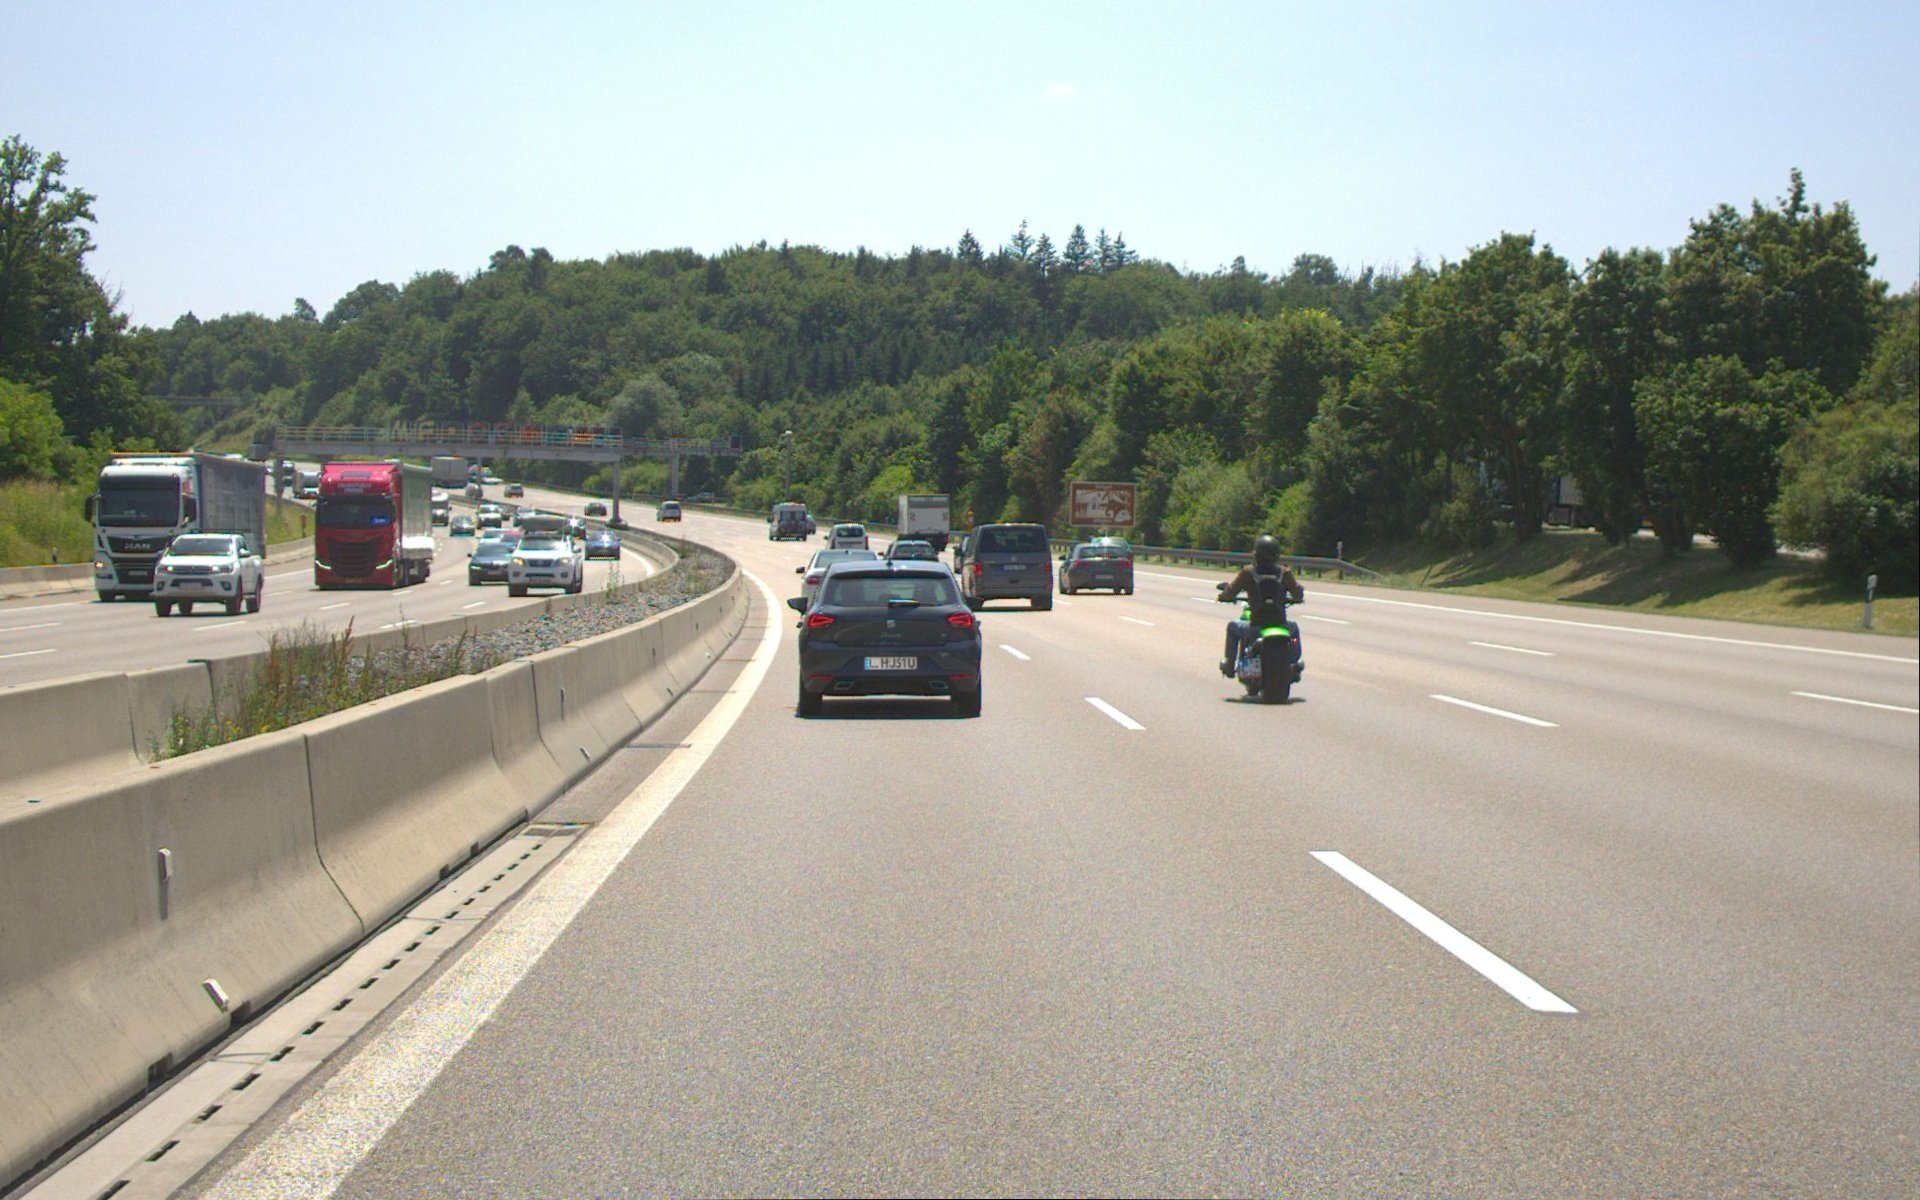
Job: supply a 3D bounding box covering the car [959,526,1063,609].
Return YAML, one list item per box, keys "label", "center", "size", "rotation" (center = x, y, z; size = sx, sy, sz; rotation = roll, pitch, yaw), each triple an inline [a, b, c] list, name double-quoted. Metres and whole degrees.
- label: "car"
  center: [1.139, -0.762, 79.001]
  size: [2.097, 1.845, 4.081]
  rotation: [0, 1, -3]

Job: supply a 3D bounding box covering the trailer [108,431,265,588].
- label: "trailer"
  center: [-22.874, -2.672, 102.335]
  size: [2.500, 4.336, 13.700]
  rotation: [0, 1, -4]

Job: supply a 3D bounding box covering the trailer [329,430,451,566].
- label: "trailer"
  center: [-19.289, -3.485, 117.114]
  size: [2.500, 4.336, 14.305]
  rotation: [0, 2, -3]

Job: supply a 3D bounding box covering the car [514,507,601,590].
- label: "car"
  center: [-11.474, -1.482, 98.252]
  size: [1.993, 2.281, 5.766]
  rotation: [0, 1, -2]

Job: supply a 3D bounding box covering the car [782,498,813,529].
- label: "car"
  center: [-10.993, -5.855, 232.790]
  size: [1.993, 2.006, 4.675]
  rotation: [3, 2, -3]

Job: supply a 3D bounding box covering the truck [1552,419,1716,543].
- label: "truck"
  center: [27.466, -4.794, 140.928]
  size: [3.326, 4.813, 14.700]
  rotation: [0, 1, -2]

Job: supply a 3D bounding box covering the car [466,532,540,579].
- label: "car"
  center: [-15.456, -1.530, 116.496]
  size: [1.993, 1.542, 4.882]
  rotation: [0, 1, -2]

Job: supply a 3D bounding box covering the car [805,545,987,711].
- label: "car"
  center: [-0.636, 0.253, 32.732]
  size: [1.624, 1.482, 3.685]
  rotation: [0, 0, -2]

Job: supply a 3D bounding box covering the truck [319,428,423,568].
- label: "truck"
  center: [-18.910, -3.290, 110.607]
  size: [2.501, 4.336, 6.606]
  rotation: [0, 2, -3]

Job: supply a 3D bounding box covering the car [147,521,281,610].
- label: "car"
  center: [-16.938, -0.816, 78.297]
  size: [1.993, 1.963, 5.738]
  rotation: [0, 1, -2]

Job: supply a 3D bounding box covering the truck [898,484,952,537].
- label: "truck"
  center: [-2.009, -5.074, 194.295]
  size: [2.726, 2.776, 5.684]
  rotation: [3, 2, -3]

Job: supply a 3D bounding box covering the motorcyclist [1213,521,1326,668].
- label: "motorcyclist"
  center: [3.072, -0.066, 34.237]
  size: [0.962, 1.432, 1.235]
  rotation: [0, 1, -3]

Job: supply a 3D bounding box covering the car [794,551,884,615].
- label: "car"
  center: [-2.516, -0.373, 70.915]
  size: [1.782, 1.261, 3.460]
  rotation: [-1, 1, -3]

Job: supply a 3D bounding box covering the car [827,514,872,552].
- label: "car"
  center: [-5.244, -3.189, 162.821]
  size: [1.993, 1.678, 4.424]
  rotation: [3, 2, -3]

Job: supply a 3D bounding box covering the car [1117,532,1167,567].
- label: "car"
  center: [6.577, -1.836, 124.482]
  size: [1.608, 1.208, 3.460]
  rotation: [0, 0, 0]

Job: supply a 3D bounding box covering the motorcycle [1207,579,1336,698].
- label: "motorcycle"
  center: [3.092, 0.369, 34.340]
  size: [0.977, 1.125, 2.271]
  rotation: [0, 1, -3]

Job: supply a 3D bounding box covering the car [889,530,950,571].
- label: "car"
  center: [-1.364, -1.652, 114.337]
  size: [1.842, 1.218, 4.225]
  rotation: [3, 2, -3]

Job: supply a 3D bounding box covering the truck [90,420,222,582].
- label: "truck"
  center: [-22.404, -2.769, 96.013]
  size: [2.500, 4.336, 6.607]
  rotation: [0, 2, -3]

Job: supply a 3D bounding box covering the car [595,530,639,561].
- label: "car"
  center: [-17.234, -2.745, 172.995]
  size: [1.993, 1.542, 4.882]
  rotation: [-1, 1, -3]

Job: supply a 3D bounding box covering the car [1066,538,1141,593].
- label: "car"
  center: [3.967, -0.961, 95.286]
  size: [1.675, 1.427, 3.685]
  rotation: [2, 1, -3]
